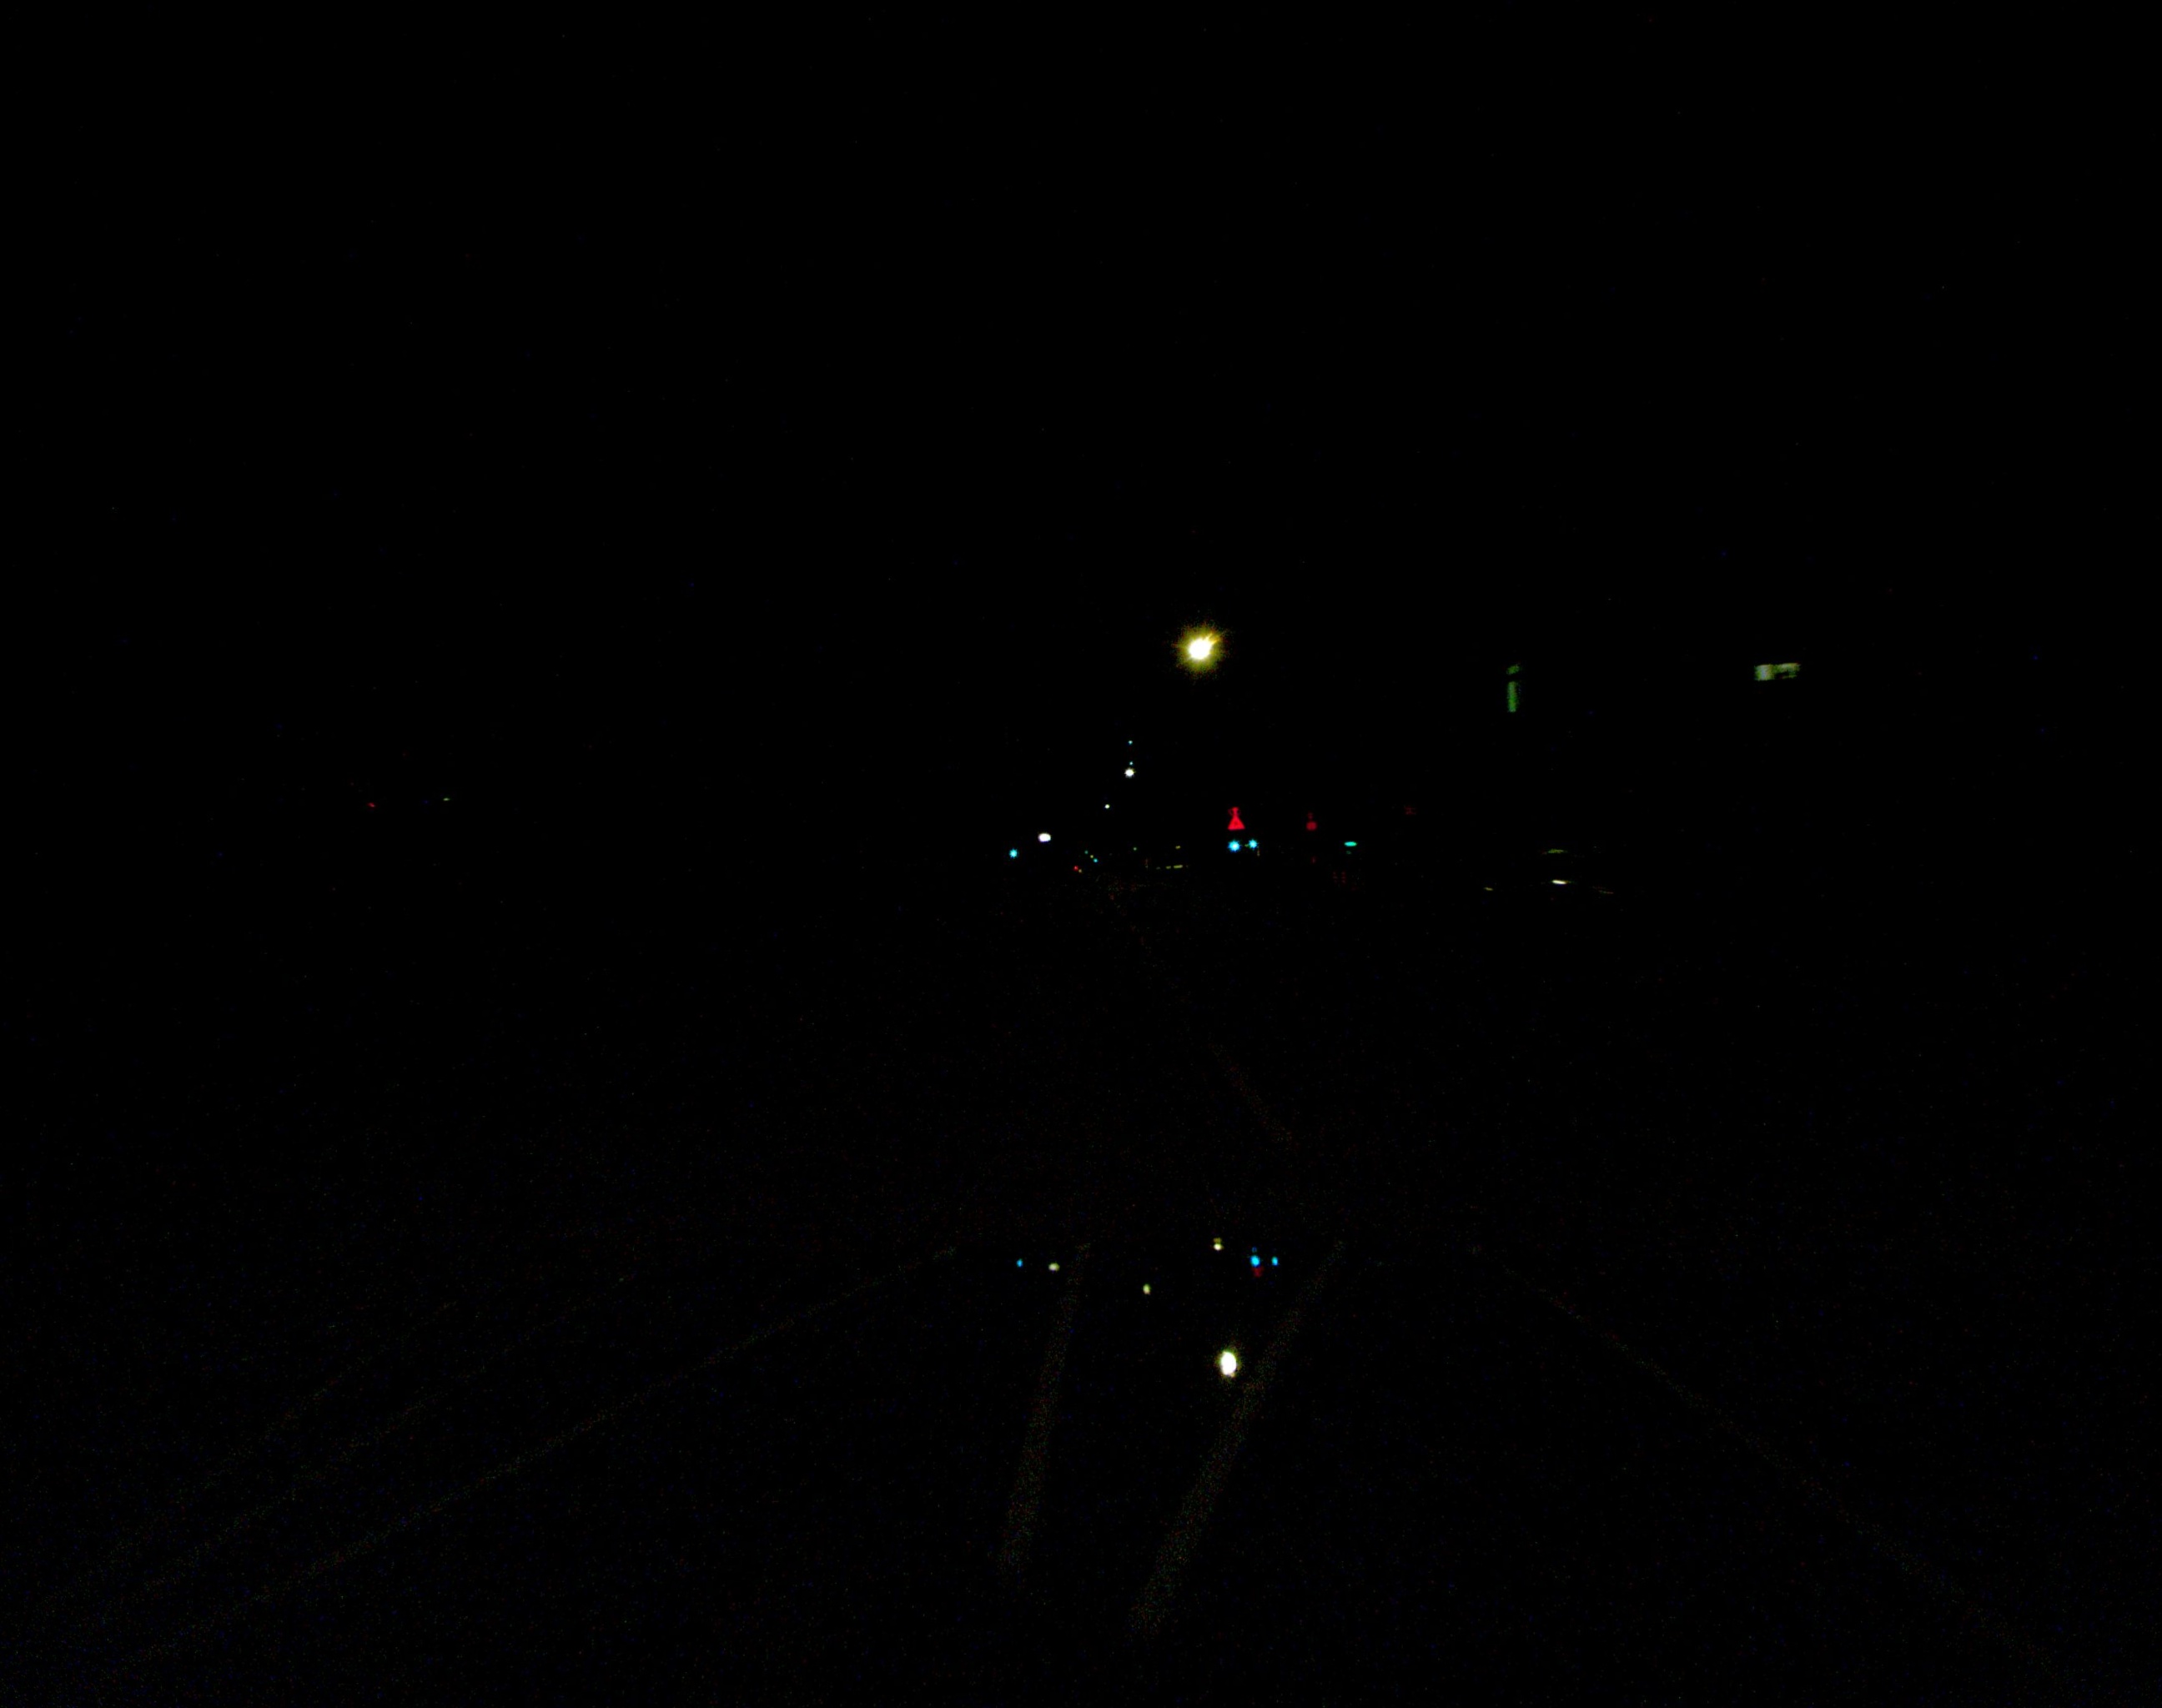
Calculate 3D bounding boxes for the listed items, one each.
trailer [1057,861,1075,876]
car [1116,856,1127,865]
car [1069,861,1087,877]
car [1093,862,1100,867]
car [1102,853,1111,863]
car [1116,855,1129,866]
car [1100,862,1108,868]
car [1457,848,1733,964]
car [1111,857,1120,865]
[{"bbox_3d":[-1.689,1.596,84.414,1.604,1.486,3.735,-3,-1,4],"label":"trailer"},{"bbox_3d":[7.421,1.209,140.583,1.826,1.423,3.732,-5,-1,1],"label":"car"},{"bbox_3d":[-0.299,1.489,75.972,1.590,1.452,3.798,-3,-1,2],"label":"car"},{"bbox_3d":[4.725,3.300,234.759,1.826,1.423,3.731,-5,-1,-2],"label":"car"},{"bbox_3d":[7.060,1.173,207.533,2.005,2.492,4.954,-5,-1,-2],"label":"car"},{"bbox_3d":[7.336,1.084,134.691,1.882,1.798,3.732,-5,-1,1],"label":"car"},{"bbox_3d":[5.922,2.733,195.900,1.826,1.423,3.731,-5,-1,-2],"label":"car"},{"bbox_3d":[7.941,0.721,12.277,1.718,1.485,3.990,-3,-1,0],"label":"car"},{"bbox_3d":[7.276,1.494,162.638,1.826,1.637,3.732,-1,0,1],"label":"car"}]
